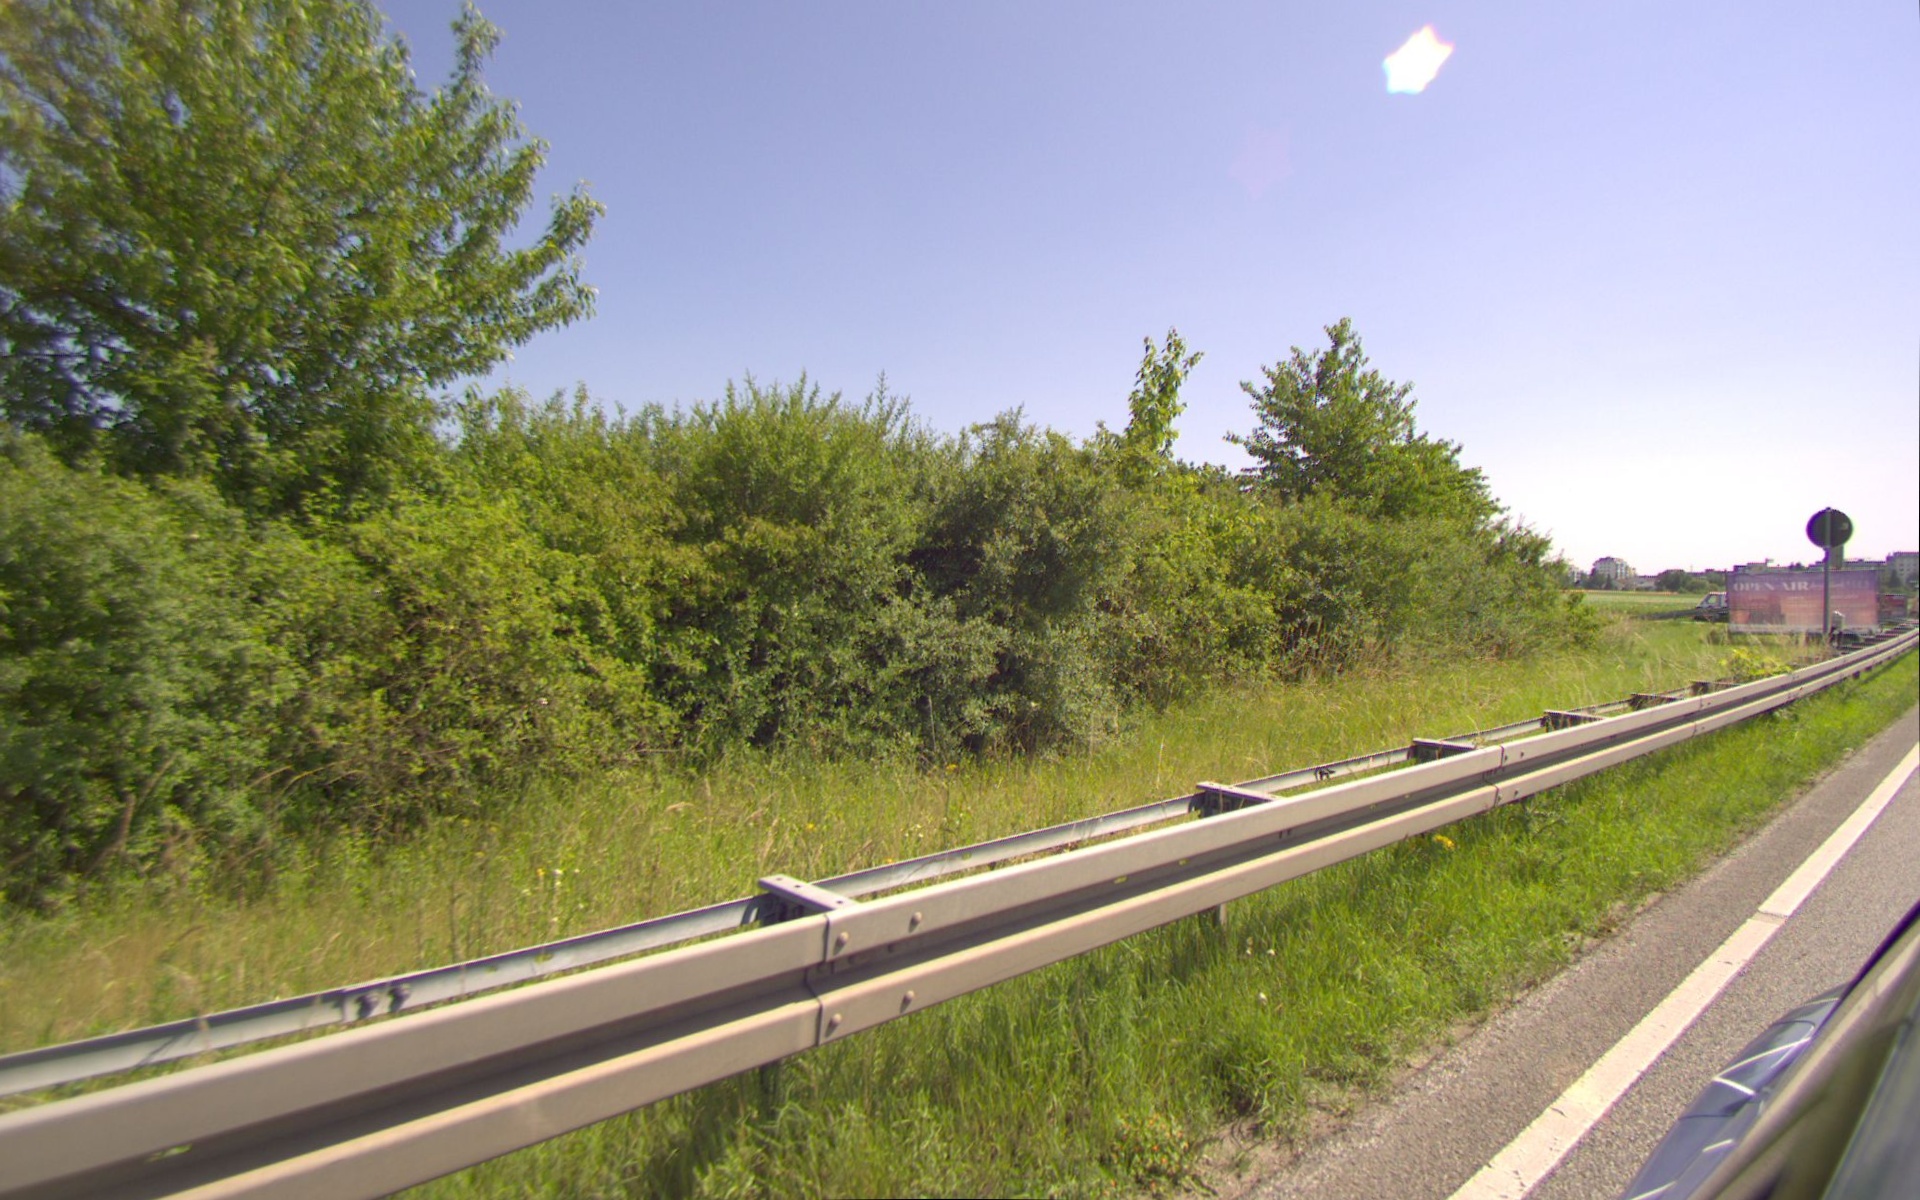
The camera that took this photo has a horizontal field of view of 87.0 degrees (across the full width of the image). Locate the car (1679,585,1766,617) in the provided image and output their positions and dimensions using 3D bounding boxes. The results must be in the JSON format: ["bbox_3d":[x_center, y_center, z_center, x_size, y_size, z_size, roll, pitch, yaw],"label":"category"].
[{"bbox_3d":[37.895,0.029,50.340,3.336,1.518,1.378,1,1,44],"label":"car"}]

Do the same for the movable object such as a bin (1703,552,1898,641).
[{"bbox_3d":[23.734,-0.074,28.702,1.256,2.361,4.097,-1,0,-43],"label":"movable object such as a bin"}]

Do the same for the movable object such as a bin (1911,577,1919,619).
[{"bbox_3d":[56.384,-0.147,57.643,4.332,2.393,1.529,-1,0,-22],"label":"movable object such as a bin"}]
